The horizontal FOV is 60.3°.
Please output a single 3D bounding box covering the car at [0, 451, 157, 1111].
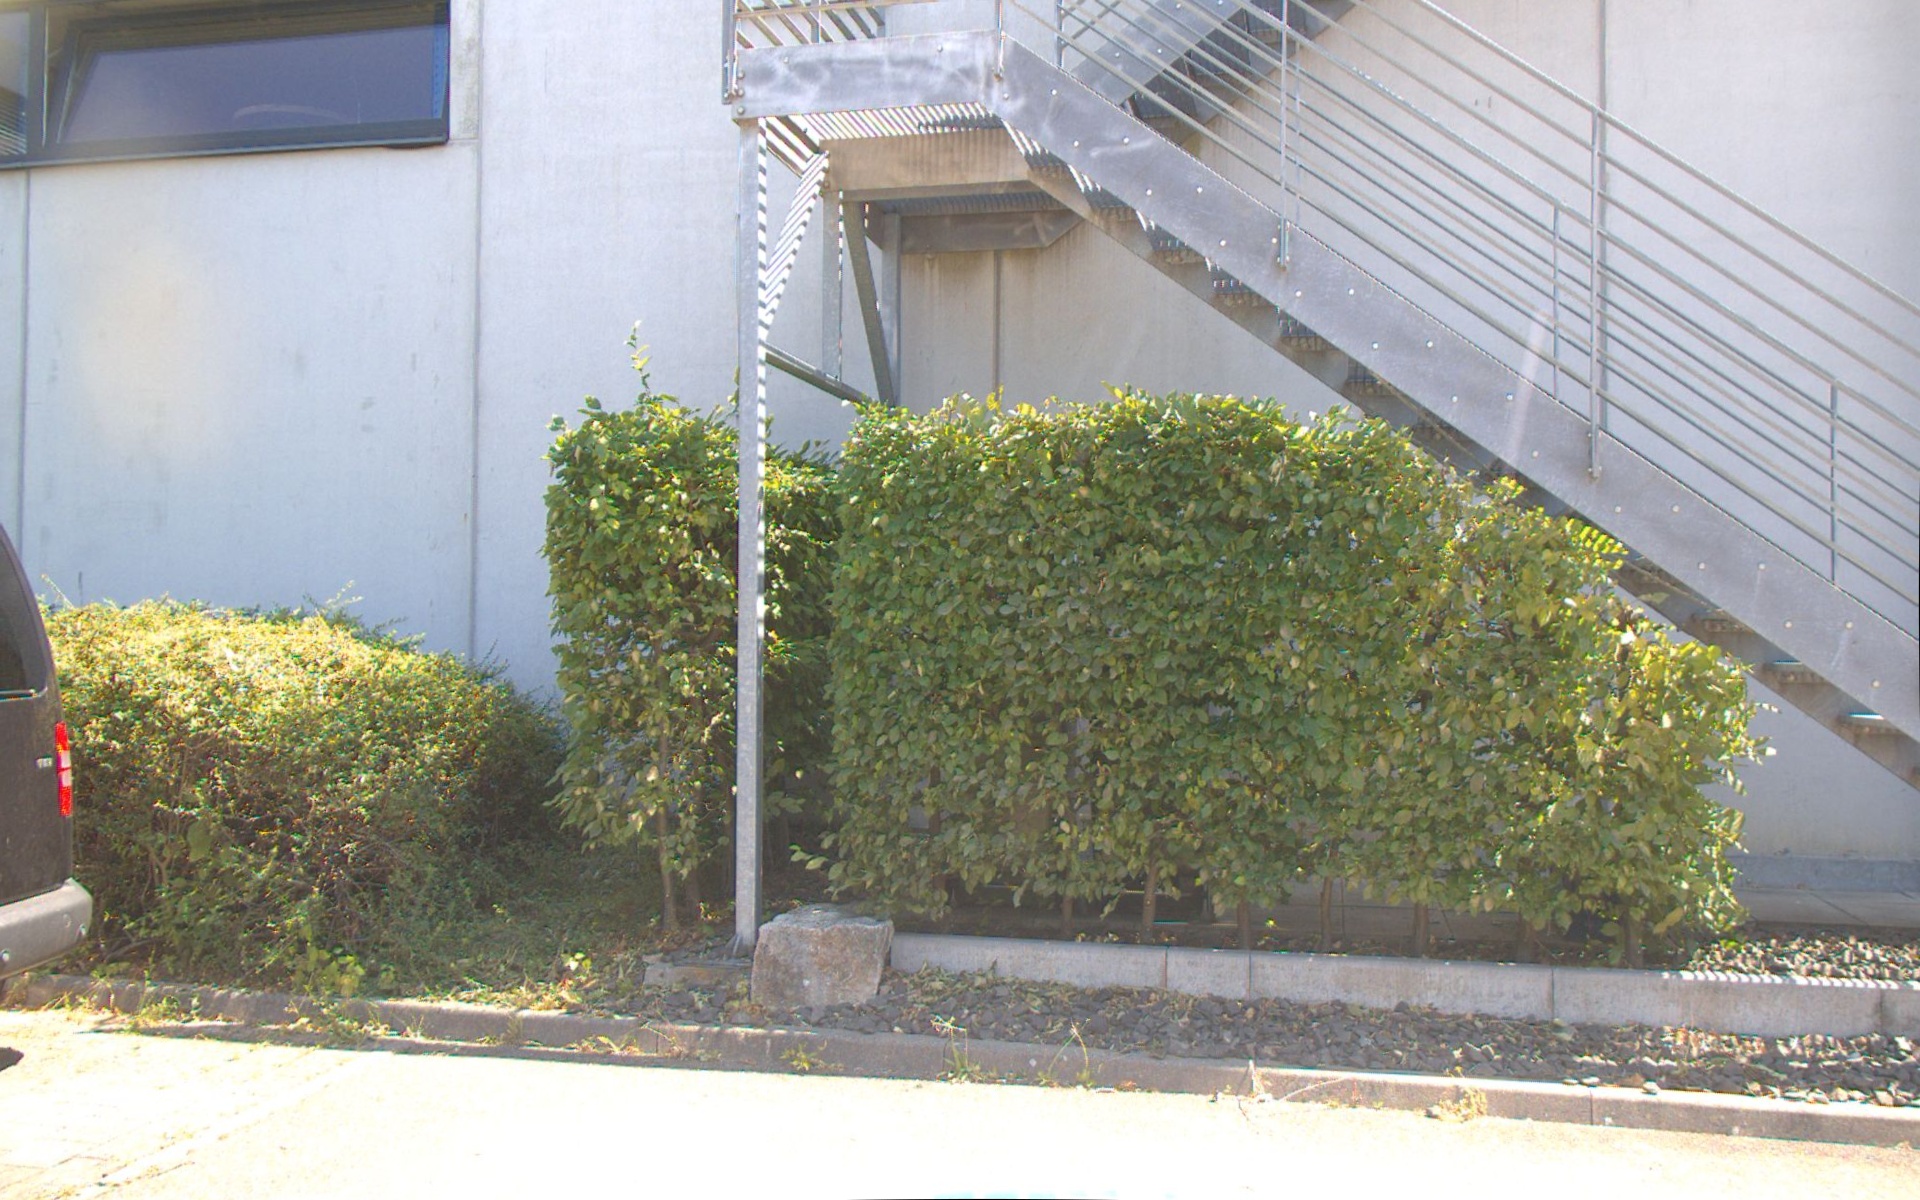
[{"bbox_3d":[-4.765,0.517,5.060,3.971,1.917,1.680,0,0,13],"label":"car"}]
